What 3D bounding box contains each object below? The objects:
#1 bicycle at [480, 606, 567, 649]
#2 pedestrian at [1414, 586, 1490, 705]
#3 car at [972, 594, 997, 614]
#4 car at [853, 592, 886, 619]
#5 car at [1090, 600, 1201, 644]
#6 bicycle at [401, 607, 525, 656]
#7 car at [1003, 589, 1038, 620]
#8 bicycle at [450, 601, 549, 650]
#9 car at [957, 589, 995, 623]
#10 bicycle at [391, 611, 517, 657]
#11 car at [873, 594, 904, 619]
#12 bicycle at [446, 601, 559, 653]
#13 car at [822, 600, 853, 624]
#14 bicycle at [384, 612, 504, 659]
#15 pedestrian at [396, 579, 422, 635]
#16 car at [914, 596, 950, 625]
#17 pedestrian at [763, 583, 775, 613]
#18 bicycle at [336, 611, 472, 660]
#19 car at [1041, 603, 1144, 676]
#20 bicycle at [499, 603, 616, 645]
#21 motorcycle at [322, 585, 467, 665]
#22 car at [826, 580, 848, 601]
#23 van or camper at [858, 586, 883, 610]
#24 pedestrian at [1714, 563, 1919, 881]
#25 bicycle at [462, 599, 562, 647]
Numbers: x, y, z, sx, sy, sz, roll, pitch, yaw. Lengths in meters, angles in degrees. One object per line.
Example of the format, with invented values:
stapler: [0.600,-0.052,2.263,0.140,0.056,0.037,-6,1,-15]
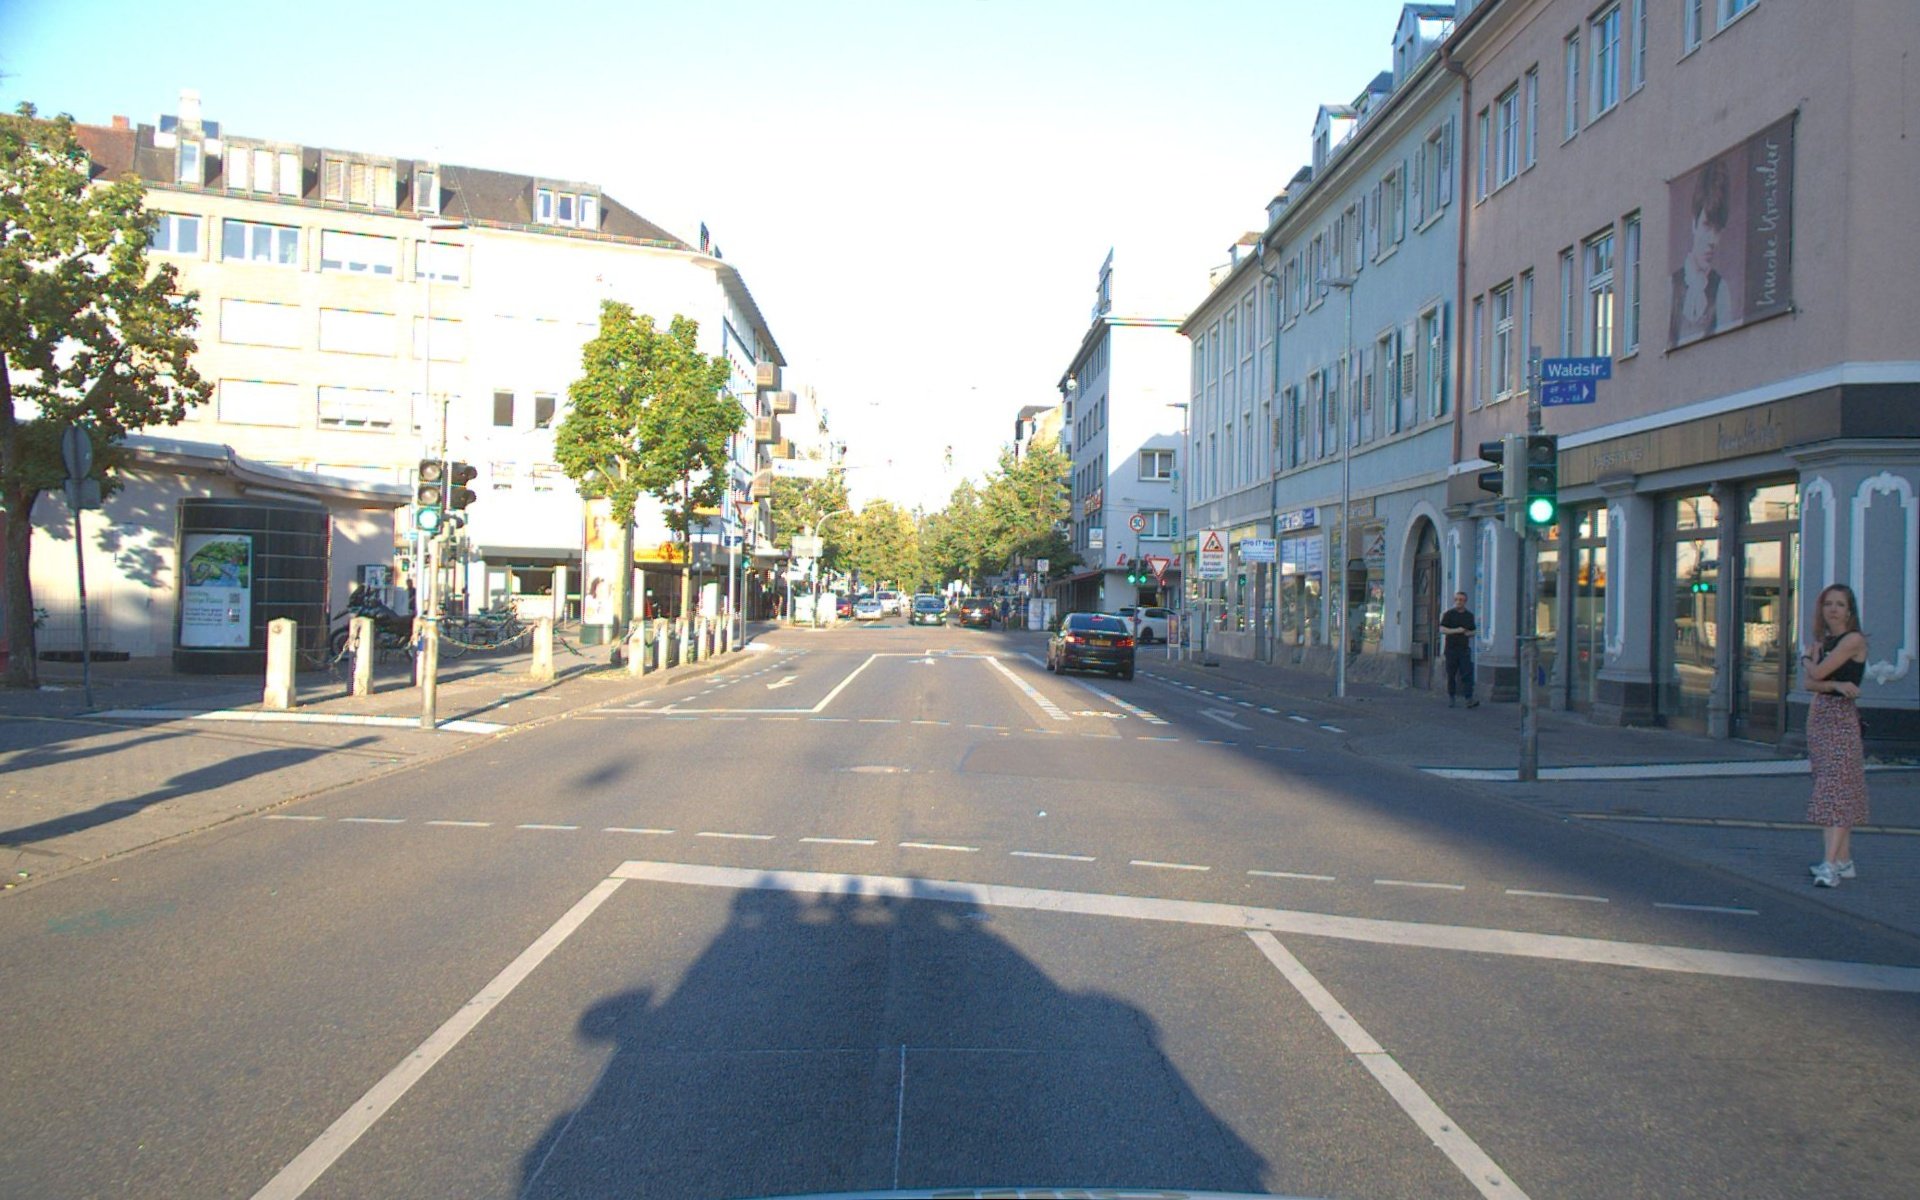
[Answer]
bicycle: [-11.355,0.711,43.030,2.049,1.082,0.681,1,0,-1]
pedestrian: [7.658,0.694,25.774,0.742,1.808,1.047,2,0,-6]
car: [2.026,0.336,138.153,1.745,1.624,3.632,2,0,-4]
car: [-5.810,0.342,106.661,1.855,1.624,4.000,2,0,0]
car: [7.383,0.870,65.732,3.853,1.632,2.310,1,0,-38]
bicycle: [-11.065,0.691,36.878,2.473,1.015,0.933,1,0,-4]
car: [3.692,0.279,101.376,1.953,1.810,4.000,2,0,-1]
bicycle: [-11.336,0.618,40.765,2.191,1.155,0.811,1,0,-4]
car: [0.838,0.312,90.389,1.953,1.780,3.999,2,0,-1]
bicycle: [-10.925,0.731,35.763,2.473,0.935,0.700,1,0,-4]
car: [-5.195,0.456,120.781,1.953,1.780,4.000,2,0,0]
bicycle: [-10.934,0.639,39.559,2.473,1.166,0.700,1,0,-4]
car: [-8.825,0.840,119.111,1.855,1.624,4.000,2,0,0]
bicycle: [-10.825,0.742,34.772,2.281,0.935,0.700,1,0,-4]
pedestrian: [-16.263,0.195,48.821,0.543,1.639,0.635,1,0,-35]
car: [-1.534,0.557,91.804,1.846,1.512,4.000,2,0,0]
pedestrian: [-11.356,-0.125,98.110,0.590,1.751,0.575,2,0,-15]
bicycle: [-11.216,0.712,33.421,2.473,0.935,0.700,1,0,-4]
car: [3.004,0.870,38.257,1.850,1.518,4.203,2,0,-2]
bicycle: [-10.671,0.638,43.919,2.881,1.040,0.843,1,0,1]
motorcycle: [-10.763,0.471,31.546,2.364,1.451,1.112,1,0,-2]
car: [-12.361,-0.973,166.103,1.790,2.049,3.676,2,0,0]
van or camper: [-9.573,-0.207,176.994,2.424,2.447,3.996,2,0,-5]
pedestrian: [4.997,0.680,9.597,0.779,1.750,0.810,2,0,-8]
bicycle: [-11.274,0.581,41.683,2.275,1.151,0.800,1,0,0]
